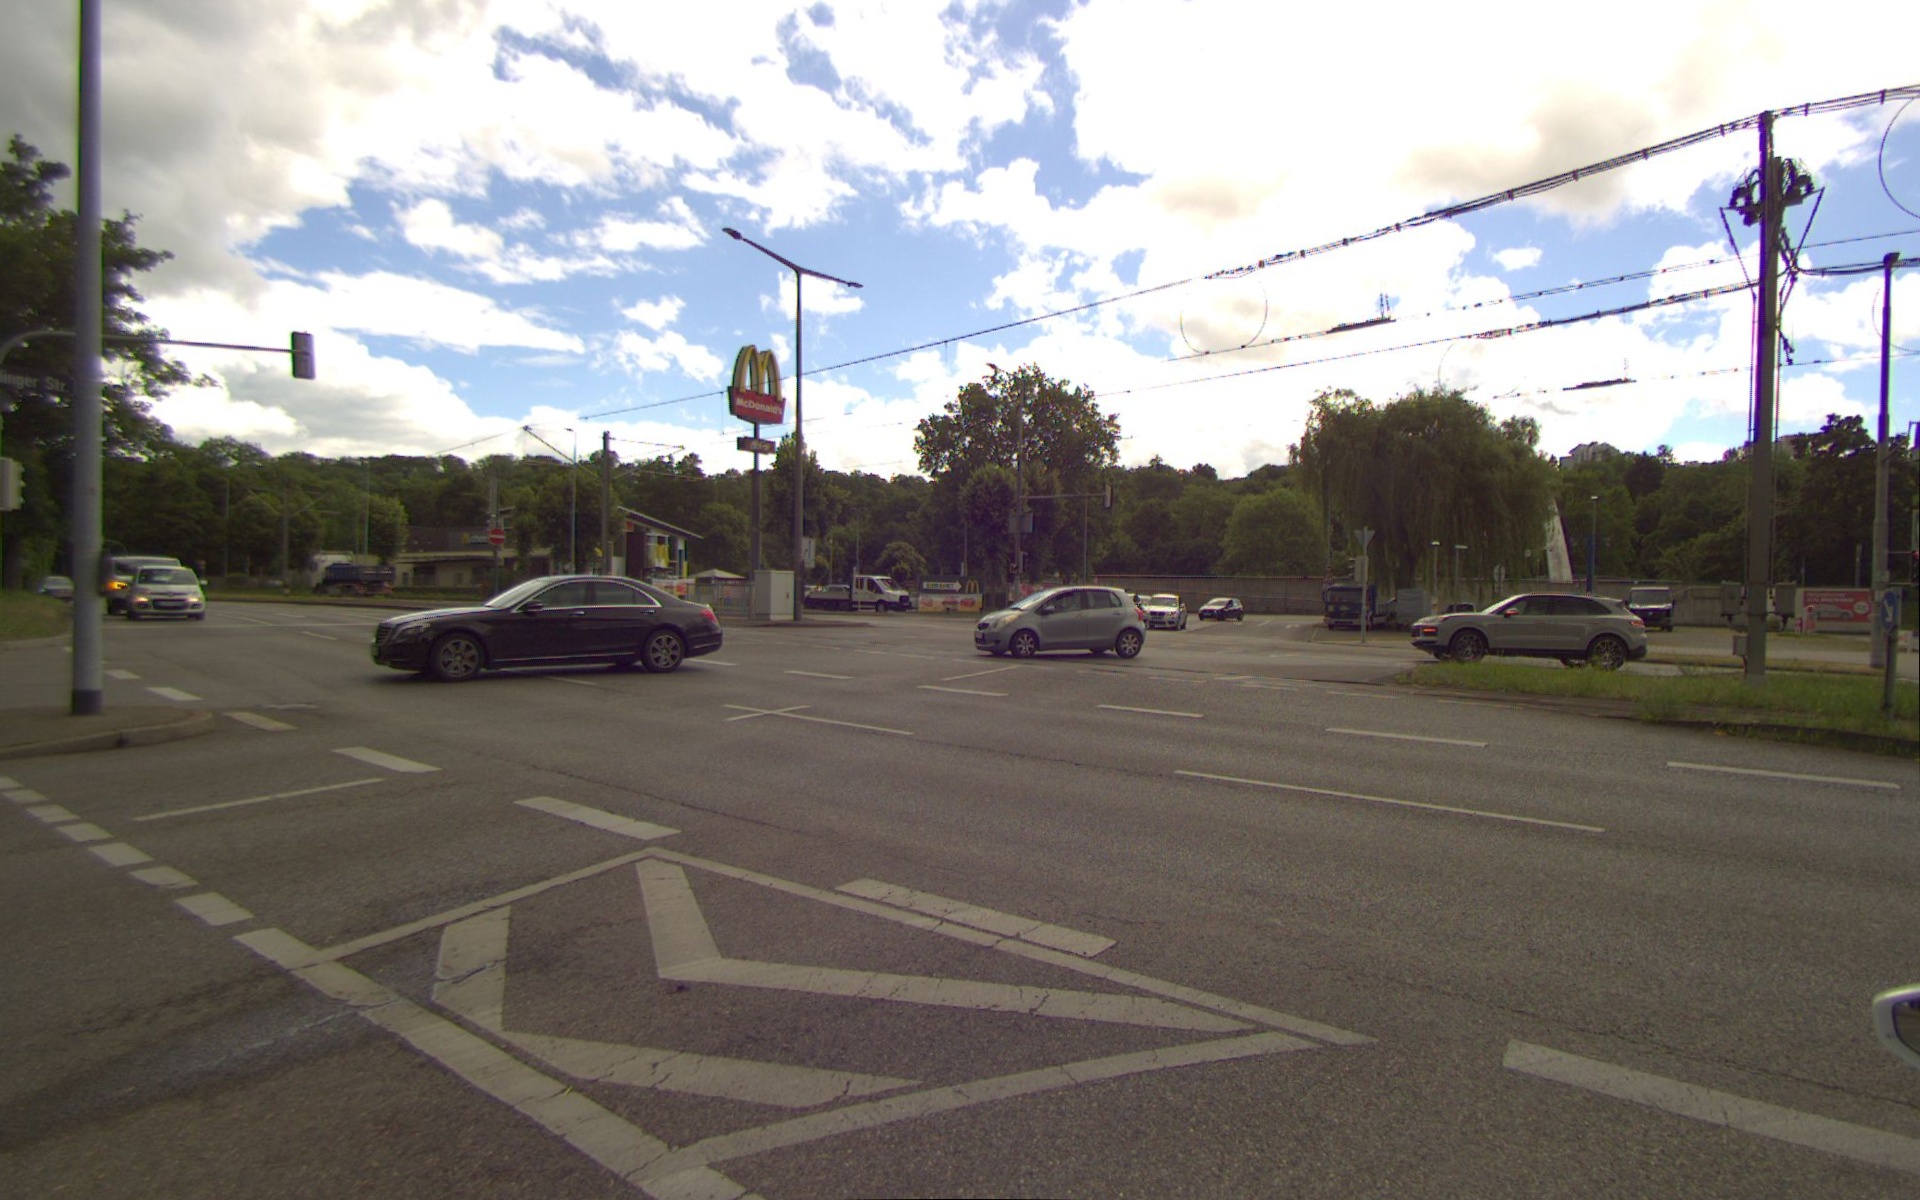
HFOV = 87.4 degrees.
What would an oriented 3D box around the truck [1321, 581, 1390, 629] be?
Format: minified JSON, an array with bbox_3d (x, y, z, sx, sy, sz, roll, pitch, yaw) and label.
[{"bbox_3d":[22.373,0.280,56.680,2.346,2.527,5.807,2,1,34],"label":"truck"}]

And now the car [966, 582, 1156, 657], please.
[{"bbox_3d":[2.162,0.419,21.751,3.727,1.507,1.671,1,1,-17],"label":"car"}]

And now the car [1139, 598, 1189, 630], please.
[{"bbox_3d":[10.126,0.644,49.635,1.761,1.451,4.417,2,1,20],"label":"car"}]

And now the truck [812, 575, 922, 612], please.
[{"bbox_3d":[-5.485,-0.390,58.726,6.092,1.930,2.594,2,0,33],"label":"truck"}]

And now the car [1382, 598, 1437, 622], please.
[{"bbox_3d":[32.968,0.713,73.738,3.570,1.575,1.727,2,0,21],"label":"car"}]

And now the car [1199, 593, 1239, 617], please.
[{"bbox_3d":[16.996,0.311,65.850,1.762,1.451,4.280,2,0,24],"label":"car"}]

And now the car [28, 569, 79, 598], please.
[{"bbox_3d":[-51.630,-0.957,57.184,1.987,1.556,3.947,3,-1,-44],"label":"car"}]

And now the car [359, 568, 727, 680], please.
[{"bbox_3d":[-6.282,0.338,15.520,4.953,1.470,1.810,1,1,-39],"label":"car"}]

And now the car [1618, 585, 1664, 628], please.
[{"bbox_3d":[36.248,0.374,53.549,1.814,2.079,4.371,2,-1,32],"label":"car"}]

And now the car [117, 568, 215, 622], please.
[{"bbox_3d":[-22.918,-0.162,28.945,3.945,1.437,1.711,2,-1,44],"label":"car"}]

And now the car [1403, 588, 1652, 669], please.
[{"bbox_3d":[13.093,0.622,23.478,4.757,1.664,1.677,2,1,14],"label":"car"}]

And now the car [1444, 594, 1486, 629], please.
[{"bbox_3d":[27.349,0.603,54.342,1.724,1.766,3.848,2,0,31],"label":"car"}]

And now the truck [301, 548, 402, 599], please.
[{"bbox_3d":[-47.353,-2.090,78.088,8.553,3.607,3.428,2,0,34],"label":"truck"}]

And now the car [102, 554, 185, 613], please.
[{"bbox_3d":[-27.450,-0.558,33.725,1.798,1.849,3.947,1,1,-44],"label":"car"}]

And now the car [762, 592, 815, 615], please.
[{"bbox_3d":[-13.253,0.259,77.446,3.934,1.549,1.776,2,0,35],"label":"car"}]

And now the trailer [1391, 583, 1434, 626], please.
[{"bbox_3d":[25.664,0.301,56.935,1.533,2.288,4.381,2,-1,33],"label":"trailer"}]
